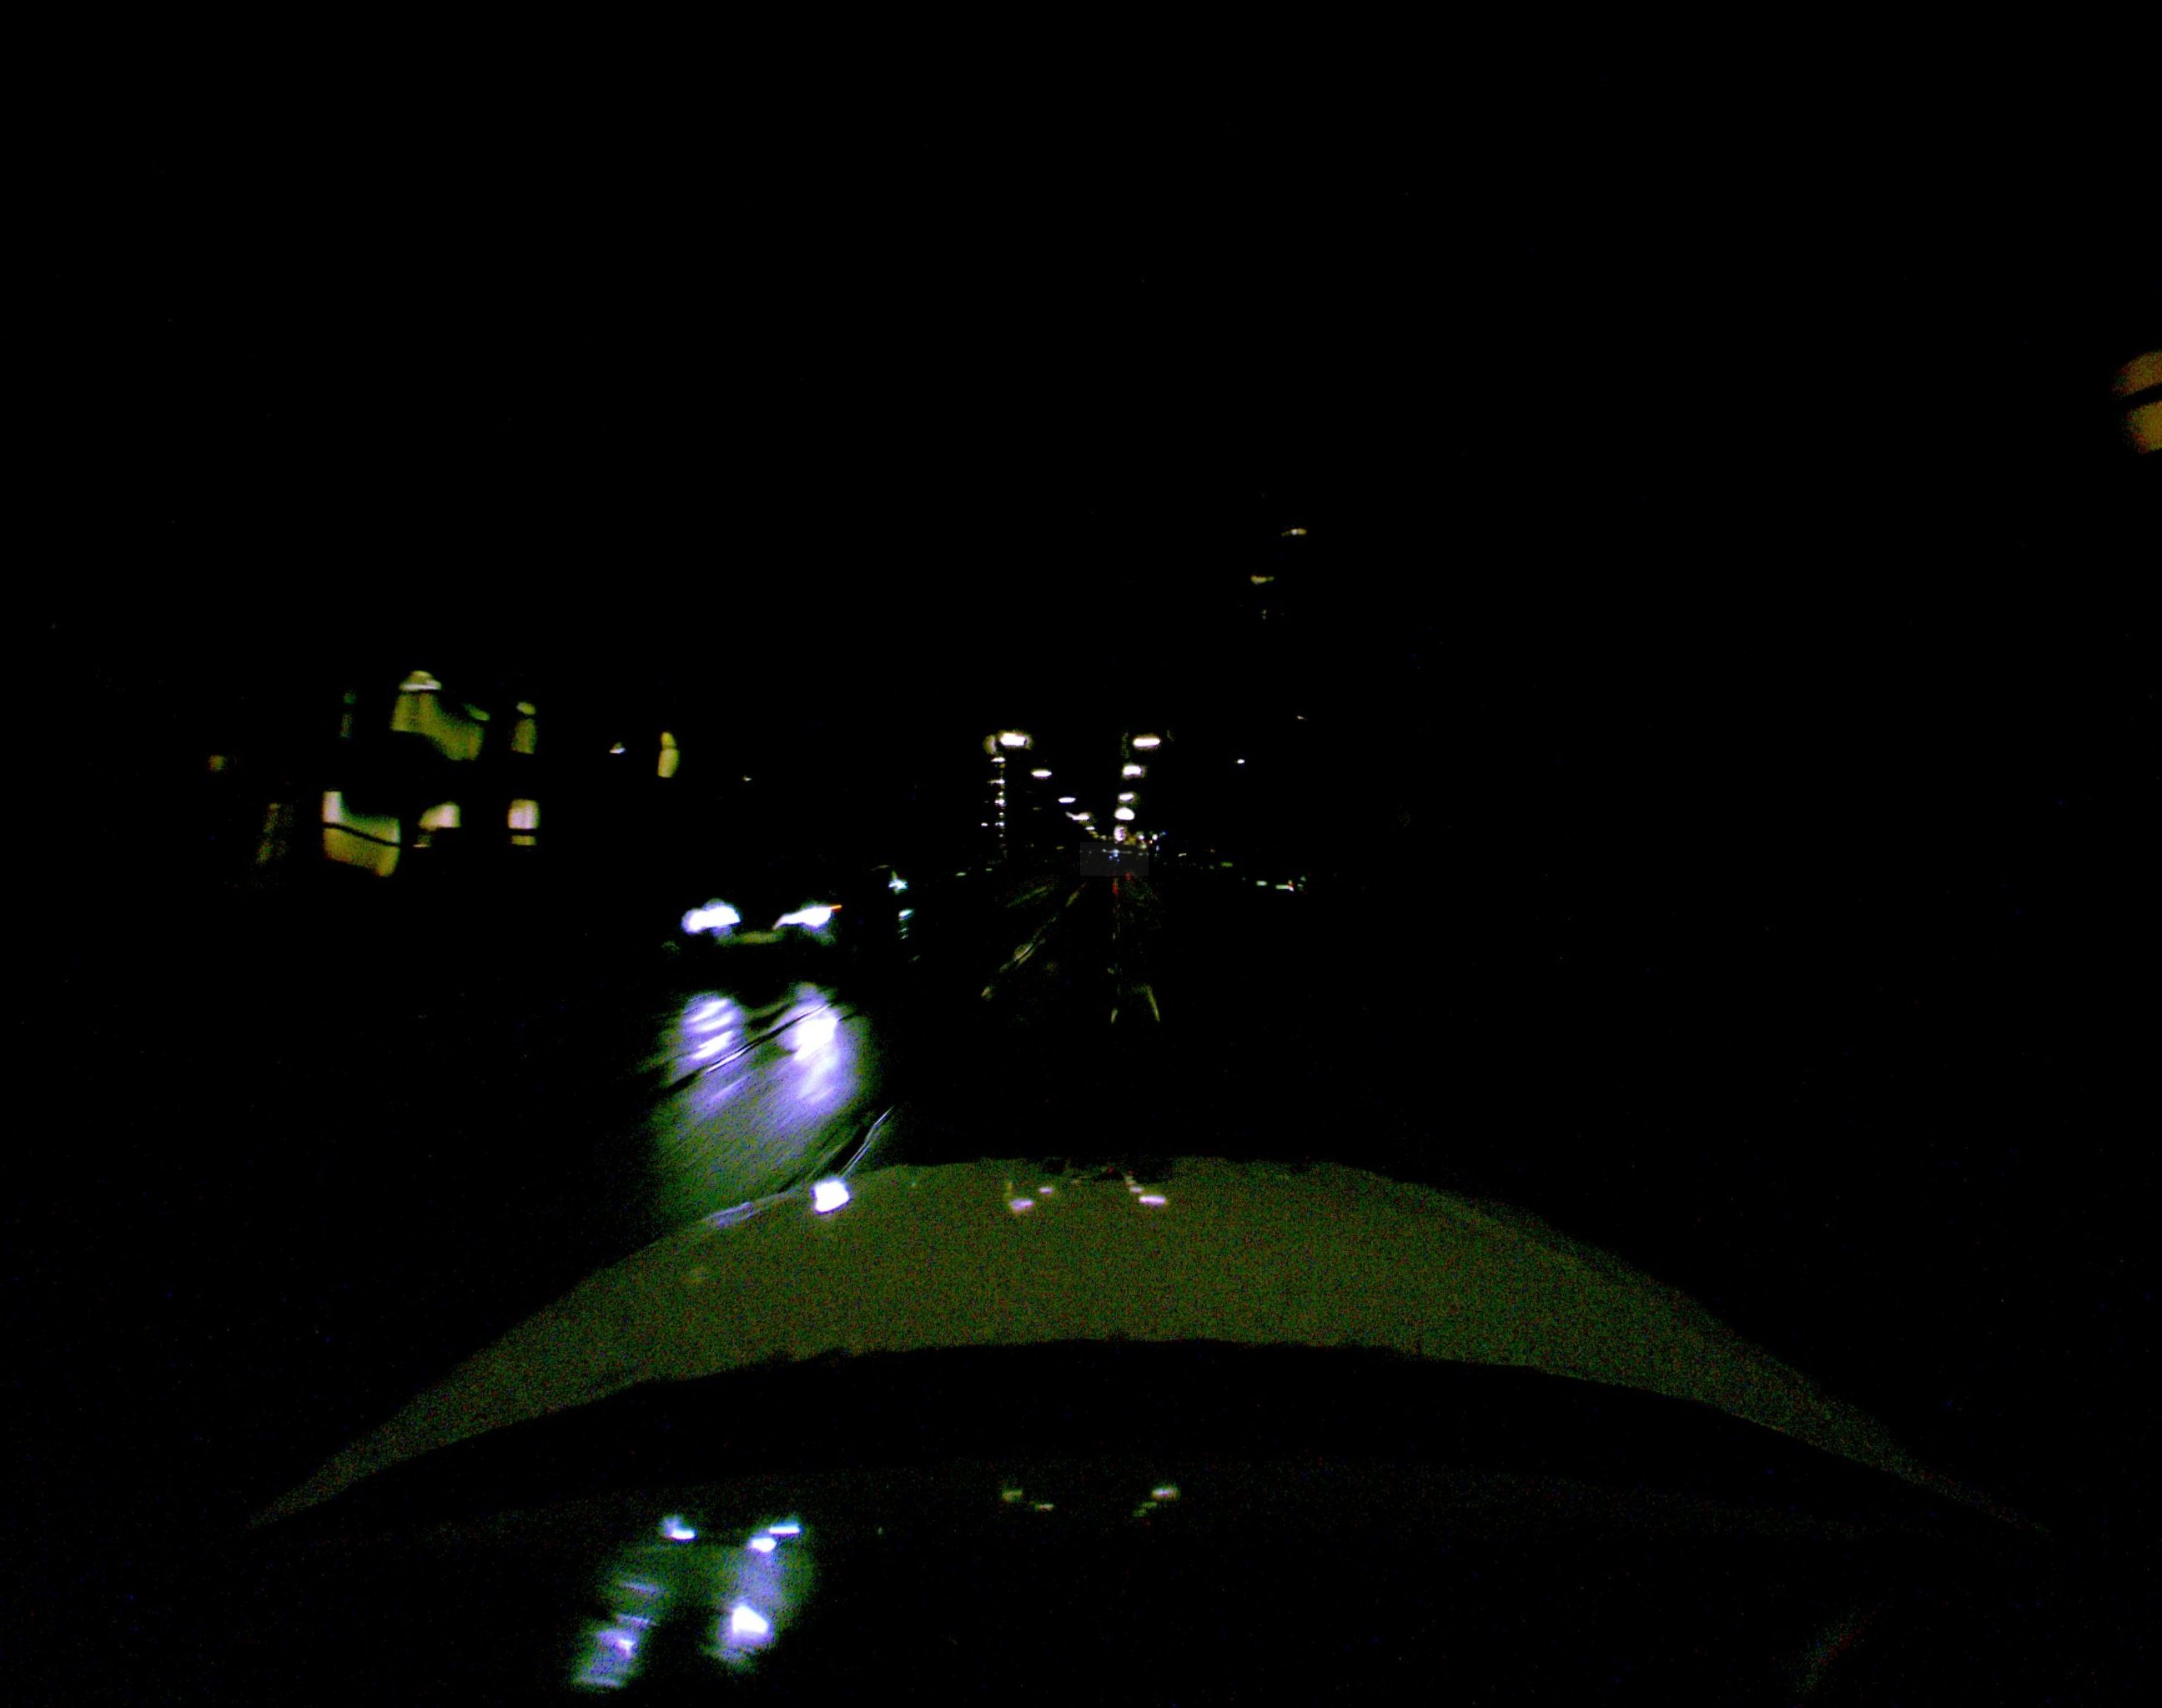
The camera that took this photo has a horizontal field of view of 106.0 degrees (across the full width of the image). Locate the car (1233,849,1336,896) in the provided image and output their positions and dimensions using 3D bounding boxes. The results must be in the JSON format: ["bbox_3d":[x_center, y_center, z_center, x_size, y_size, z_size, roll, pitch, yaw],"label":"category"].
[{"bbox_3d":[7.144,0.600,28.374,1.785,1.488,3.879,-1,0,44],"label":"car"}]

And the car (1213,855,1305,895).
[{"bbox_3d":[7.007,0.808,31.879,3.856,1.438,1.581,1,0,-43],"label":"car"}]

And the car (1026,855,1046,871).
[{"bbox_3d":[-5.269,1.062,96.722,2.102,1.764,4.964,1,-1,0],"label":"car"}]

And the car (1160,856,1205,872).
[{"bbox_3d":[9.730,0.969,77.827,4.271,1.454,1.928,1,0,-42],"label":"car"}]

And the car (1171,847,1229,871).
[{"bbox_3d":[8.116,0.343,55.474,3.908,1.533,1.800,0,0,-40],"label":"car"}]

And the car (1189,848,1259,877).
[{"bbox_3d":[8.102,0.439,45.787,1.671,1.404,4.485,0,2,43],"label":"car"}]

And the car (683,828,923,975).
[{"bbox_3d":[-3.999,0.594,12.649,1.930,1.815,4.389,-2,0,3],"label":"car"}]

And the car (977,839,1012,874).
[{"bbox_3d":[-6.587,0.187,62.465,2.018,2.499,5.606,1,0,0],"label":"car"}]

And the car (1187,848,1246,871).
[{"bbox_3d":[8.798,0.384,52.661,3.877,1.433,1.799,1,0,-44],"label":"car"}]

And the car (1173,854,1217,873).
[{"bbox_3d":[10.058,0.822,71.725,2.030,1.623,3.851,1,0,44],"label":"car"}]

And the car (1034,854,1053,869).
[{"bbox_3d":[-4.796,0.974,105.062,1.992,1.785,4.001,1,-1,2],"label":"car"}]

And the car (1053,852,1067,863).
[{"bbox_3d":[-3.440,0.605,136.179,2.015,1.761,4.001,1,-1,2],"label":"car"}]

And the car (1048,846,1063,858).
[{"bbox_3d":[-3.846,-0.229,125.324,2.015,1.761,4.001,1,-1,2],"label":"car"}]

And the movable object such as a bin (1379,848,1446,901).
[{"bbox_3d":[9.239,0.541,22.723,1.411,1.407,1.020,-1,0,-18],"label":"movable object such as a bin"}]

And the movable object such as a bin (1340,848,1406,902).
[{"bbox_3d":[7.934,0.566,22.169,1.352,1.407,1.020,-1,0,-18],"label":"movable object such as a bin"}]

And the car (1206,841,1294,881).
[{"bbox_3d":[8.236,0.328,39.547,4.195,1.839,1.940,1,0,-40],"label":"car"}]

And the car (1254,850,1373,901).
[{"bbox_3d":[7.311,0.655,25.480,3.809,1.458,1.749,1,0,-40],"label":"car"}]

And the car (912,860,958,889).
[{"bbox_3d":[-7.403,1.014,41.668,1.604,1.428,3.808,1,0,1],"label":"car"}]

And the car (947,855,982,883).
[{"bbox_3d":[-7.160,0.902,50.438,1.636,1.507,3.619,0,2,0],"label":"car"}]

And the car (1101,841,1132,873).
[{"bbox_3d":[2.716,0.215,63.537,2.209,2.441,5.384,0,0,0],"label":"car"}]

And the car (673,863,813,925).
[{"bbox_3d":[-8.396,0.942,20.655,1.661,1.386,4.004,1,-1,3],"label":"car"}]
